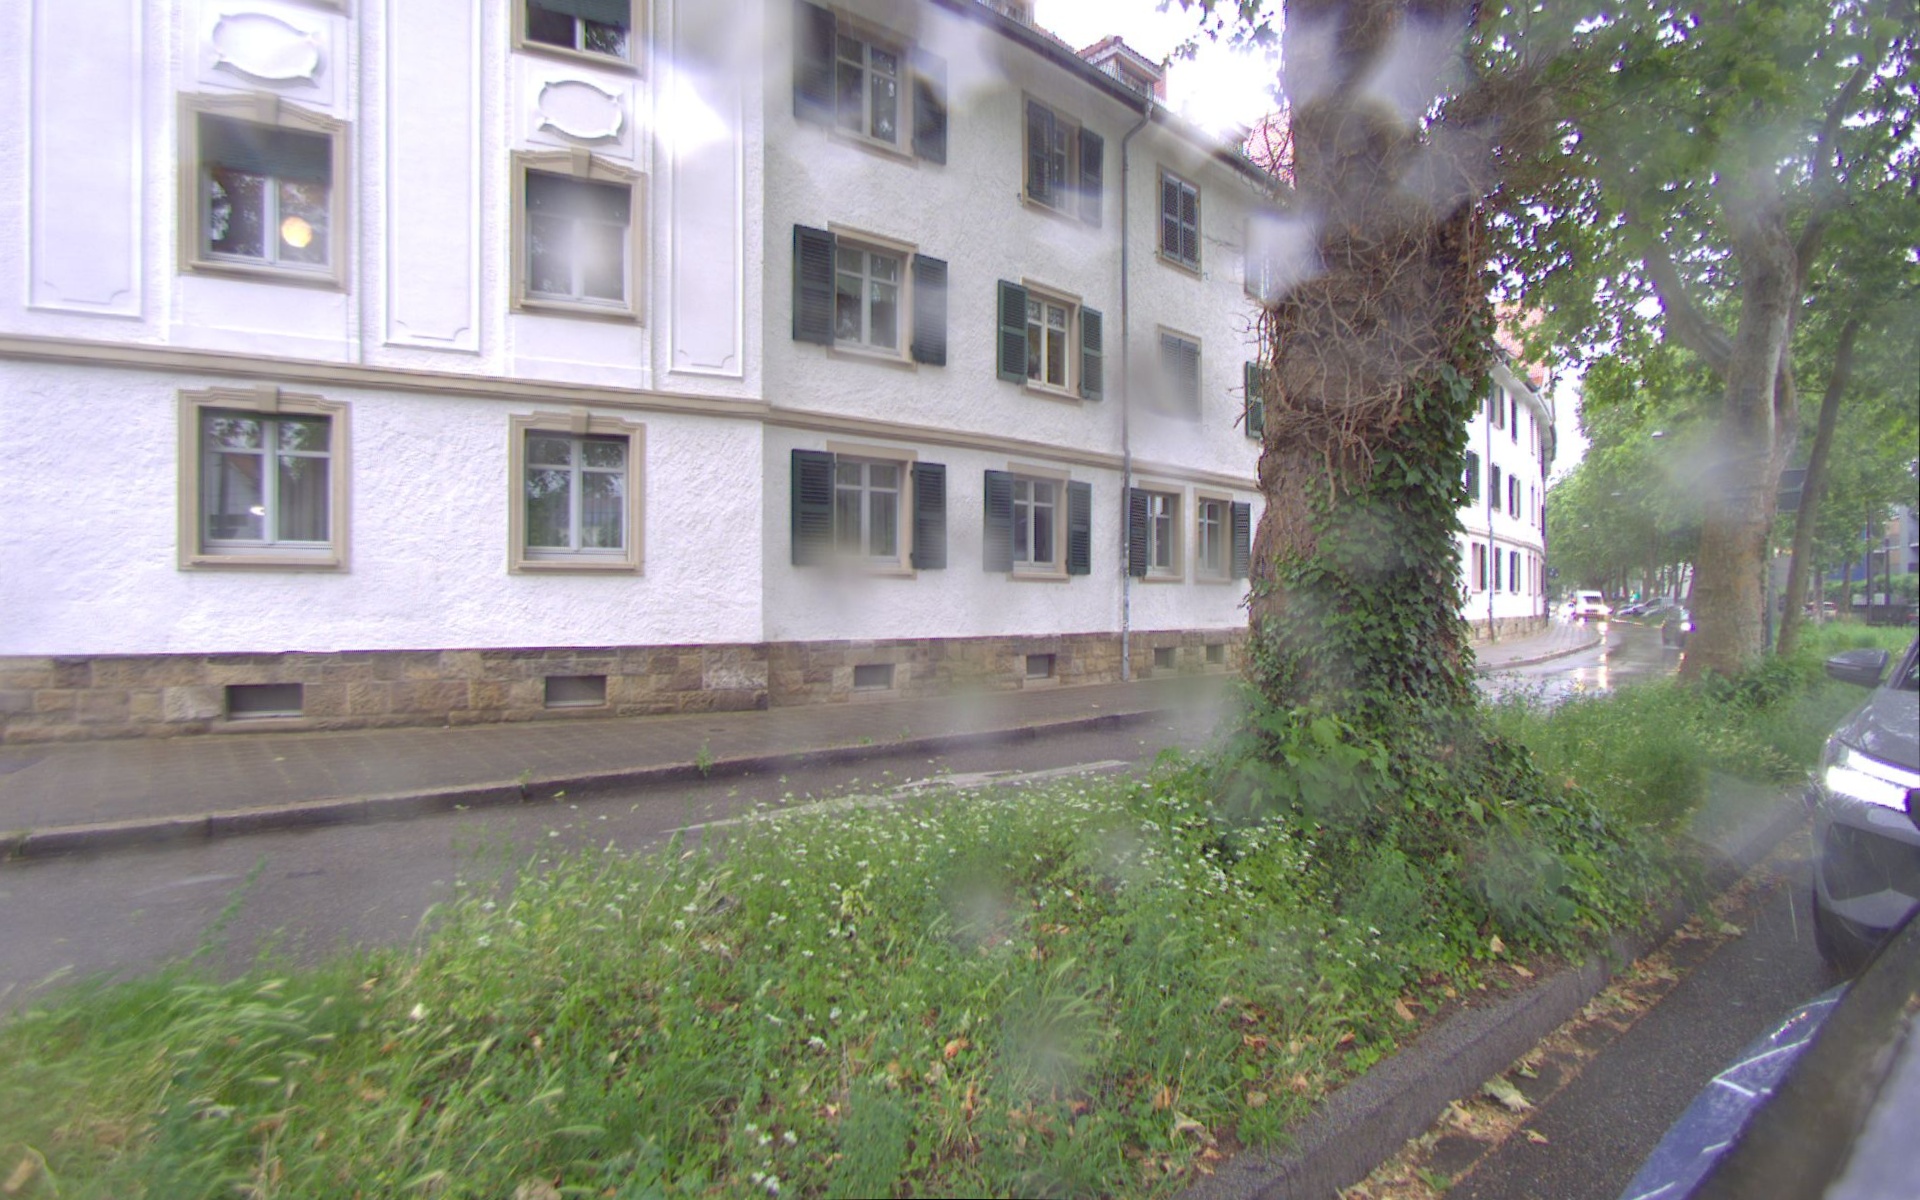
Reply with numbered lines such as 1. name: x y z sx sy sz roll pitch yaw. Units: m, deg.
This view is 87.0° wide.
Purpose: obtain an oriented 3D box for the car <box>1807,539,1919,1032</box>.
1. car: 5.146 0.616 4.316 4.039 1.662 1.913 0 0 -44

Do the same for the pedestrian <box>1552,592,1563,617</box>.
1. pedestrian: 44.356 0.332 75.100 0.668 1.845 0.672 0 0 31

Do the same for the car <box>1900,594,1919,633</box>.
1. car: 40.140 0.539 41.263 1.743 1.612 4.189 0 0 31

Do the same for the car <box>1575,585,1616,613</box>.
1. car: 53.755 -0.085 85.697 2.173 2.292 5.366 0 0 24

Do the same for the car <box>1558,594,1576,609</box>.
1. car: 90.824 0.223 151.499 1.983 2.038 3.961 5 3 28

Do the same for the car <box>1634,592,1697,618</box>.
1. car: 55.911 0.390 80.301 3.969 2.039 1.977 0 -1 32

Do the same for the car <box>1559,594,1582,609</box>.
1. car: 62.703 0.158 103.997 1.816 1.545 3.959 0 0 29

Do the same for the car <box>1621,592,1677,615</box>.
1. car: 60.774 0.290 89.285 3.969 2.039 1.977 0 -1 32
